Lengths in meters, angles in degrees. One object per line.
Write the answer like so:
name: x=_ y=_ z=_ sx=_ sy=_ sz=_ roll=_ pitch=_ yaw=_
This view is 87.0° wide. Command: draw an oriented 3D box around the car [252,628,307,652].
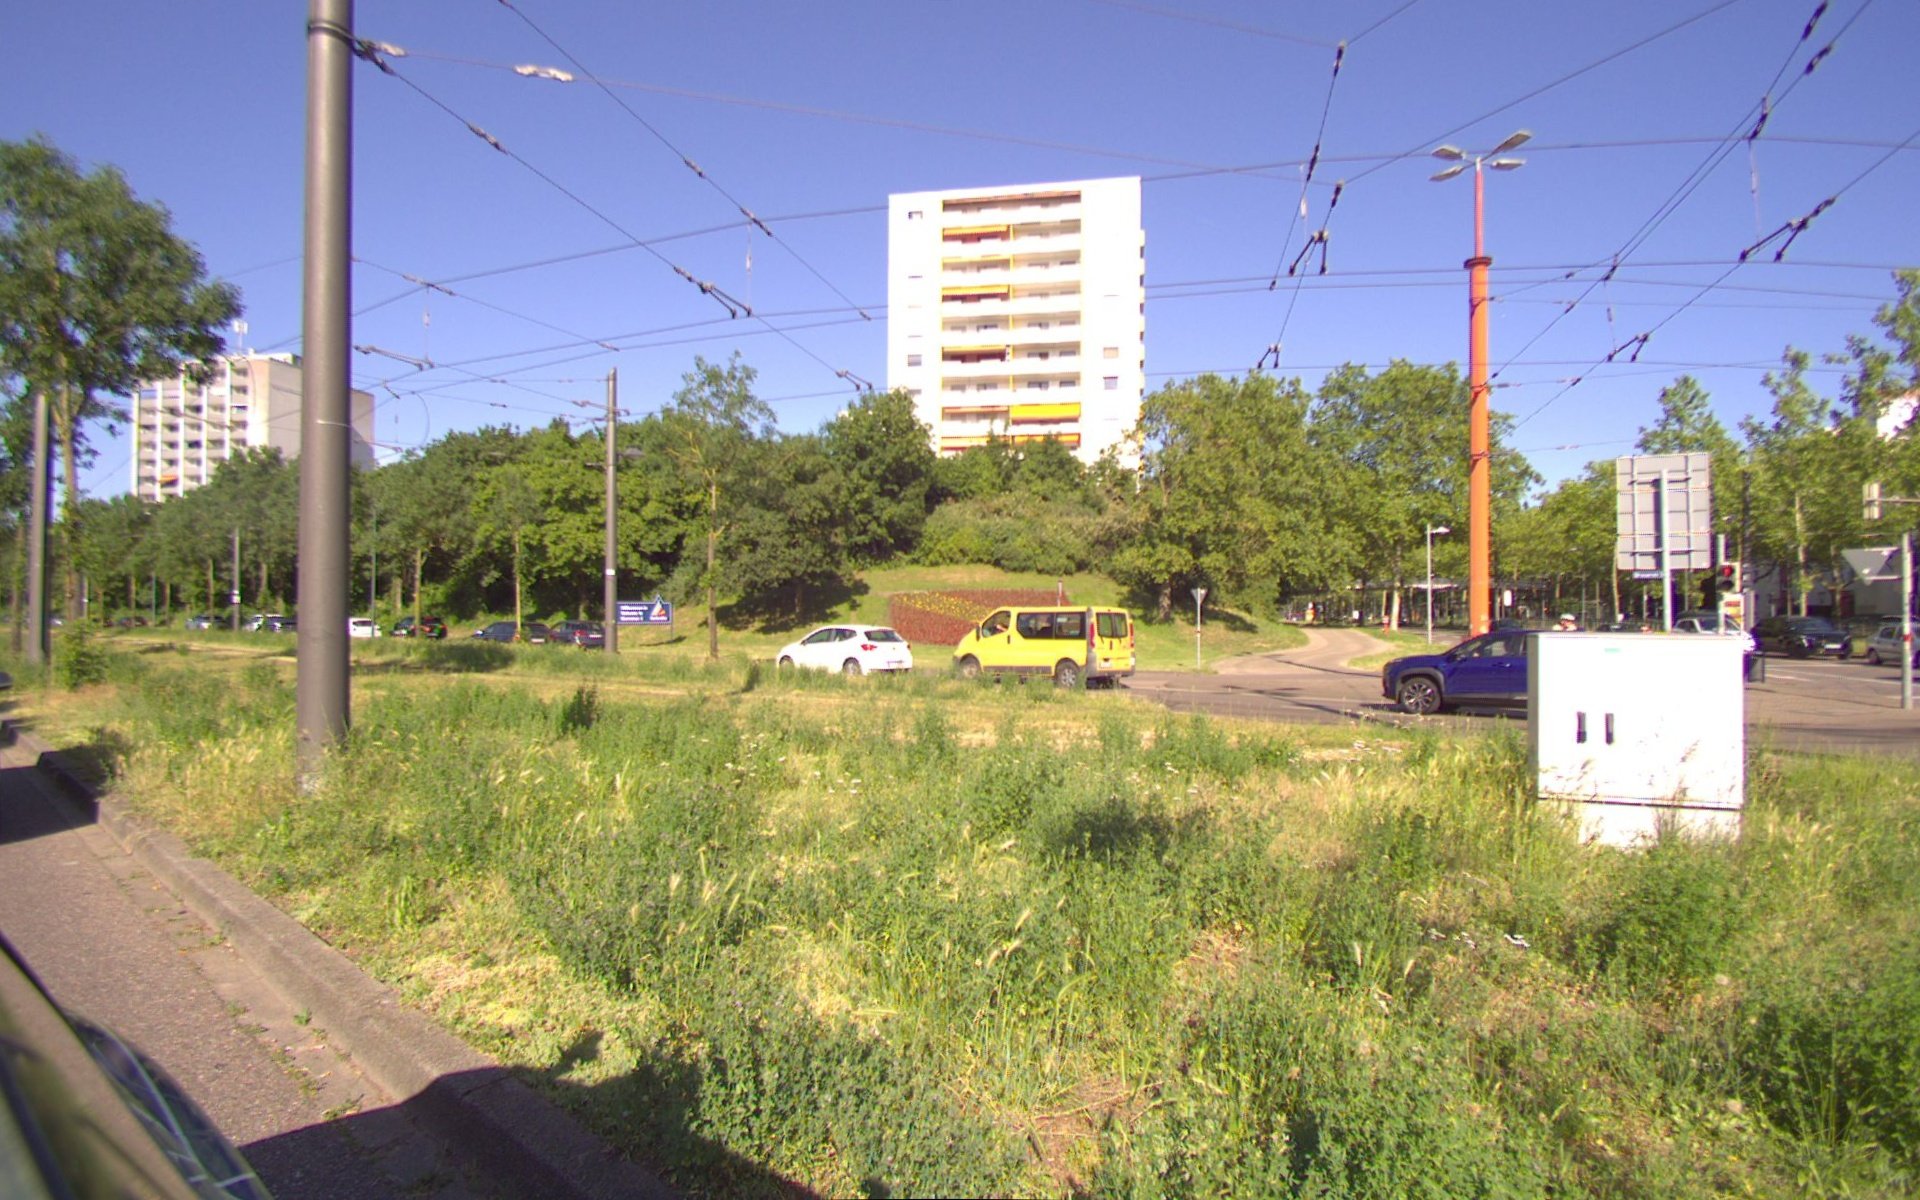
car: x=-40.510 y=2.363 z=60.216 sx=4.229 sy=1.371 sz=1.801 roll=-1 pitch=-2 yaw=43

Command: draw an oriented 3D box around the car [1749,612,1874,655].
car: x=32.497 y=1.267 z=38.785 sx=1.839 sy=1.557 sz=4.245 roll=0 pitch=-1 yaw=12

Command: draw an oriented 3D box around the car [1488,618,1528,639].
car: x=37.650 y=1.958 z=69.580 sx=1.752 sy=1.360 sz=4.334 roll=-1 pitch=-1 yaw=20

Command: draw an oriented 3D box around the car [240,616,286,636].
car: x=-49.239 y=1.839 z=71.475 sx=4.000 sy=1.409 sz=1.822 roll=-1 pitch=-2 yaw=43

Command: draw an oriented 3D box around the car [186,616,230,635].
car: x=-59.839 y=2.017 z=80.517 sx=3.998 sy=1.497 sz=1.972 roll=-1 pitch=-2 yaw=41

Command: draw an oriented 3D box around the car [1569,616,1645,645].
car: x=31.706 y=1.463 z=49.746 sx=1.748 sy=1.360 sz=4.345 roll=0 pitch=-1 yaw=13

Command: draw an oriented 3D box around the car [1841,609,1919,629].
car: x=65.878 y=1.381 z=72.379 sx=1.770 sy=1.420 sz=4.010 roll=1 pitch=-1 yaw=-36

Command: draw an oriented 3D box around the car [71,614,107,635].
car: x=-76.124 y=2.165 z=88.467 sx=3.998 sy=1.779 sz=1.858 roll=-1 pitch=-2 yaw=41

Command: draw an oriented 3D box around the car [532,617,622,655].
car: x=-16.078 y=1.463 z=42.385 sx=4.240 sy=1.519 sz=1.769 roll=-1 pitch=-2 yaw=42

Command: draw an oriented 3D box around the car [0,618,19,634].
car: x=-103.162 y=2.797 z=109.304 sx=3.998 sy=1.779 sz=1.858 roll=-1 pitch=-2 yaw=41

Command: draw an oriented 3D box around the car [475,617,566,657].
car: x=-16.956 y=1.395 z=38.929 sx=1.774 sy=1.427 sz=4.312 roll=1 pitch=-2 yaw=-45

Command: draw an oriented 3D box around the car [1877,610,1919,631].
car: x=64.890 y=1.403 z=68.397 sx=1.770 sy=1.420 sz=4.010 roll=1 pitch=-1 yaw=-36

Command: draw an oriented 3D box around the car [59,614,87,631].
car: x=-97.214 y=2.456 z=110.906 sx=3.998 sy=1.779 sz=1.858 roll=-1 pitch=-2 yaw=41

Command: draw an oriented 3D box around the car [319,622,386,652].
car: x=-30.532 y=1.830 z=50.826 sx=4.000 sy=1.429 sz=1.842 roll=-1 pitch=-2 yaw=43

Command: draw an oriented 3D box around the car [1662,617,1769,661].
car: x=29.774 y=1.518 z=40.058 sx=1.810 sy=1.648 sz=4.235 roll=0 pitch=-1 yaw=13

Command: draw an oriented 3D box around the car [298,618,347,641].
car: x=-39.493 y=1.808 z=62.668 sx=4.001 sy=1.386 sz=1.717 roll=-1 pitch=-2 yaw=44

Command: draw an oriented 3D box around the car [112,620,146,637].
car: x=-76.152 y=2.593 z=92.775 sx=3.998 sy=1.475 sz=1.779 roll=-1 pitch=-2 yaw=41

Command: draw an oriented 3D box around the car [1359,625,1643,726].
car: x=9.524 y=1.237 z=17.981 sx=4.105 sy=1.586 sz=1.973 roll=-1 pitch=-2 yaw=41

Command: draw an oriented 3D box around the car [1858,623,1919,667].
car: x=30.778 y=1.411 z=32.083 sx=1.471 sy=1.356 sz=3.989 roll=0 pitch=-2 yaw=9

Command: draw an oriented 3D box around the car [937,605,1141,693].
car: x=1.892 y=1.197 z=25.319 sx=4.905 sy=1.981 sz=1.972 roll=-2 pitch=-3 yaw=42

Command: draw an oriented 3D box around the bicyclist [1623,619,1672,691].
bicyclist: x=13.430 y=1.064 z=19.775 sx=0.435 sy=1.391 sz=0.631 roll=0 pitch=-2 yaw=-20

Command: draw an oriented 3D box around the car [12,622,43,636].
car: x=-111.052 y=3.469 z=120.543 sx=3.990 sy=1.674 sz=1.888 roll=-1 pitch=-2 yaw=35

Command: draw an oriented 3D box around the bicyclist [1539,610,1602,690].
bicyclist: x=12.188 y=0.988 z=20.207 sx=0.719 sy=1.557 sz=0.770 roll=0 pitch=-2 yaw=-20

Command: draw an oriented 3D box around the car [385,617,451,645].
car: x=-28.862 y=1.617 z=53.851 sx=3.998 sy=1.429 sz=1.843 roll=-1 pitch=-2 yaw=42

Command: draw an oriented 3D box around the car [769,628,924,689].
car: x=-2.943 y=1.422 z=25.662 sx=4.020 sy=1.418 sz=1.671 roll=-1 pitch=-2 yaw=42

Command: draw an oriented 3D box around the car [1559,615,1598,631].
car: x=79.739 y=2.999 z=130.502 sx=3.969 sy=2.029 sz=1.987 roll=-1 pitch=-1 yaw=20

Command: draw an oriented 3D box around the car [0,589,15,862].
car: x=-7.752 y=0.773 z=6.741 sx=3.879 sy=1.634 sz=1.737 roll=-1 pitch=-2 yaw=41
